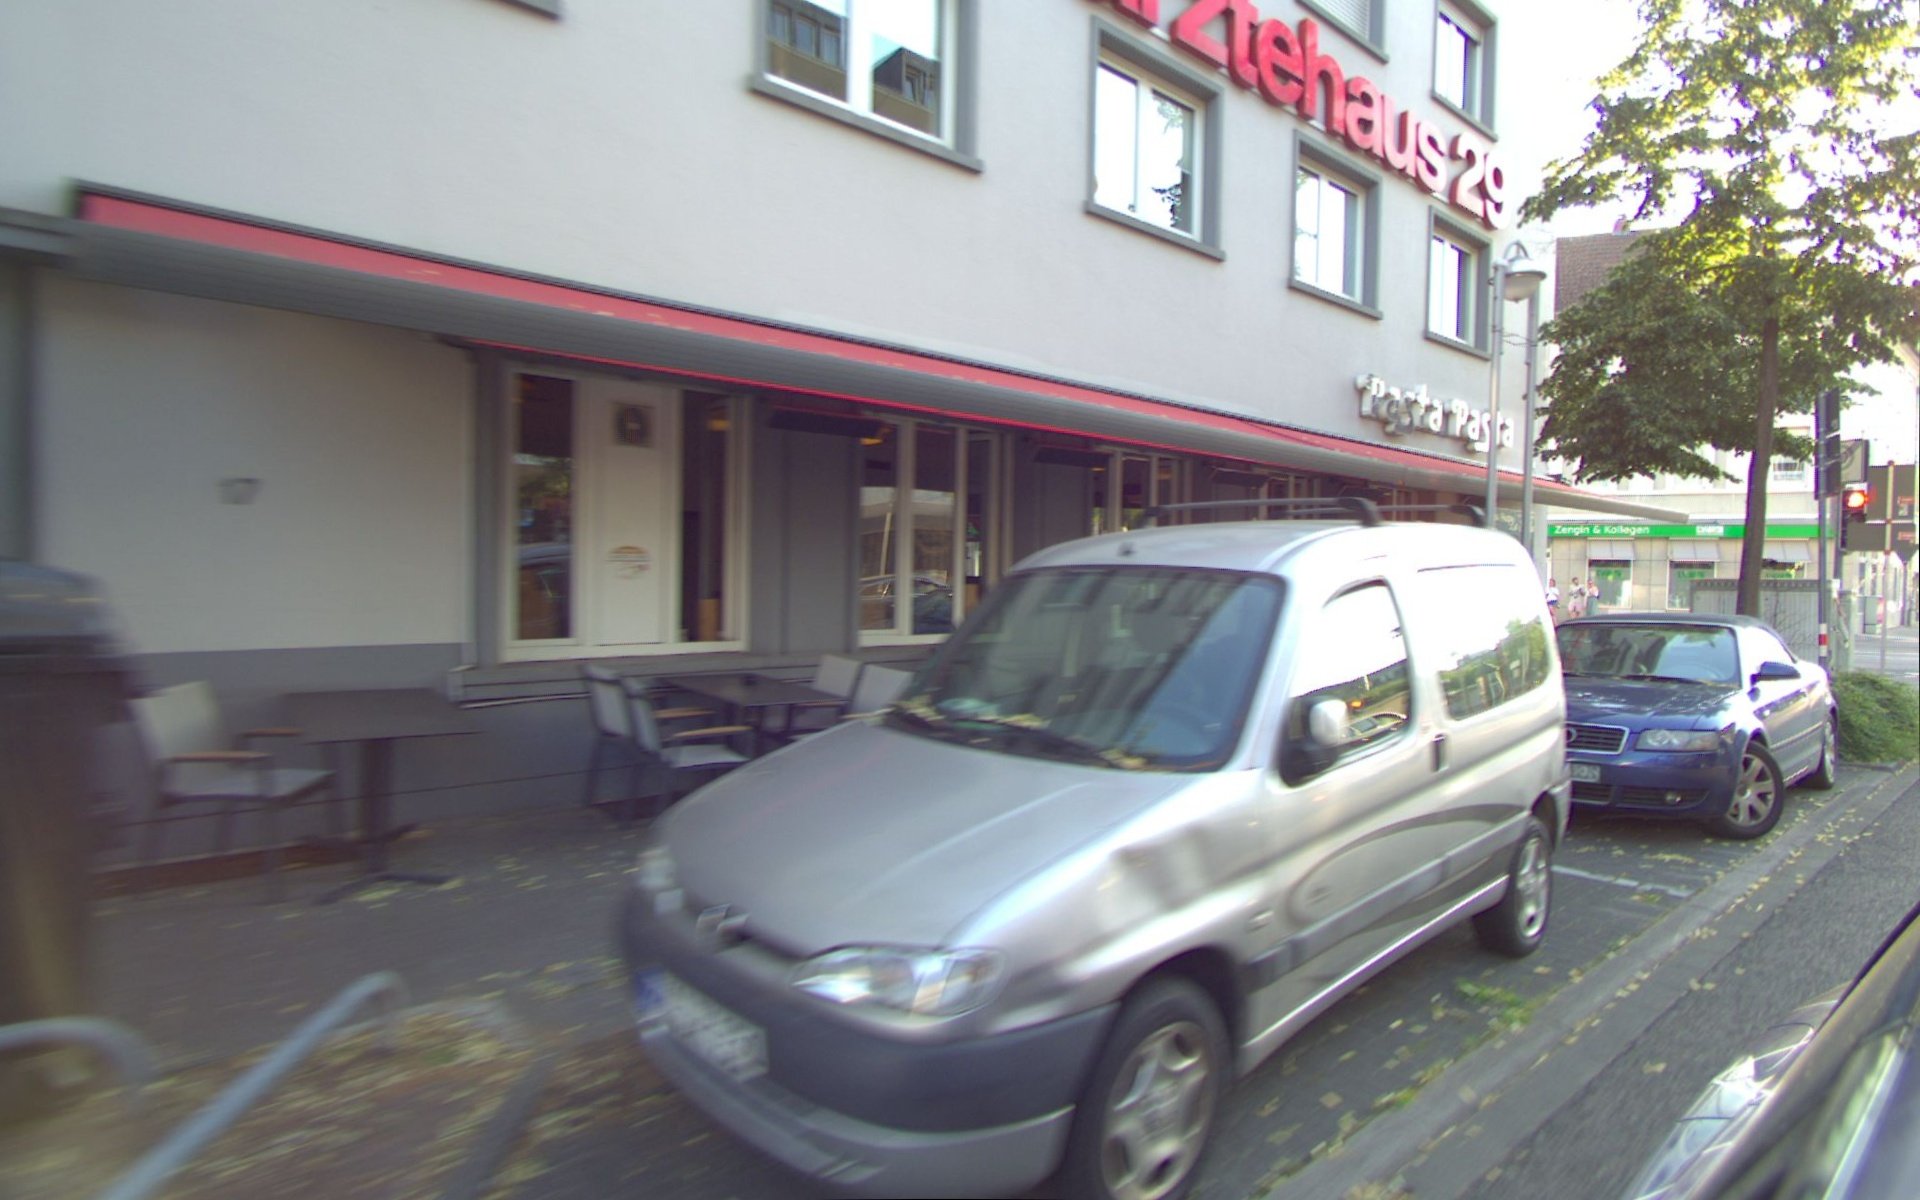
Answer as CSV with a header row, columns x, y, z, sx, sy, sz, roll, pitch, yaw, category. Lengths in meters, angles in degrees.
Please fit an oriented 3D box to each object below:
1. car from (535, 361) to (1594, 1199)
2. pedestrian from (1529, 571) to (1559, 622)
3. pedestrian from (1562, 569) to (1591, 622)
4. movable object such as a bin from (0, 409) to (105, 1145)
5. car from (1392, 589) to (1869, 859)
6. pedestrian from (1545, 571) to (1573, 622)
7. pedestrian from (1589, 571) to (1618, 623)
x,y,z,sx,sy,sz,roll,pitch,yaw,category
0.776,0.491,3.651,3.945,1.801,1.656,0,0,-44,car
20.737,-0.138,35.957,0.675,1.794,0.763,0,1,9,pedestrian
21.696,-0.153,35.603,0.775,1.835,0.894,0,1,38,pedestrian
-2.917,0.436,2.485,1.186,1.796,0.835,-1,1,-44,movable object such as a bin
5.028,0.637,7.362,4.111,1.394,1.939,-1,0,-42,car
21.334,-0.141,36.047,0.672,1.794,0.628,0,1,9,pedestrian
22.206,-0.114,34.929,0.775,1.794,0.894,0,1,38,pedestrian
